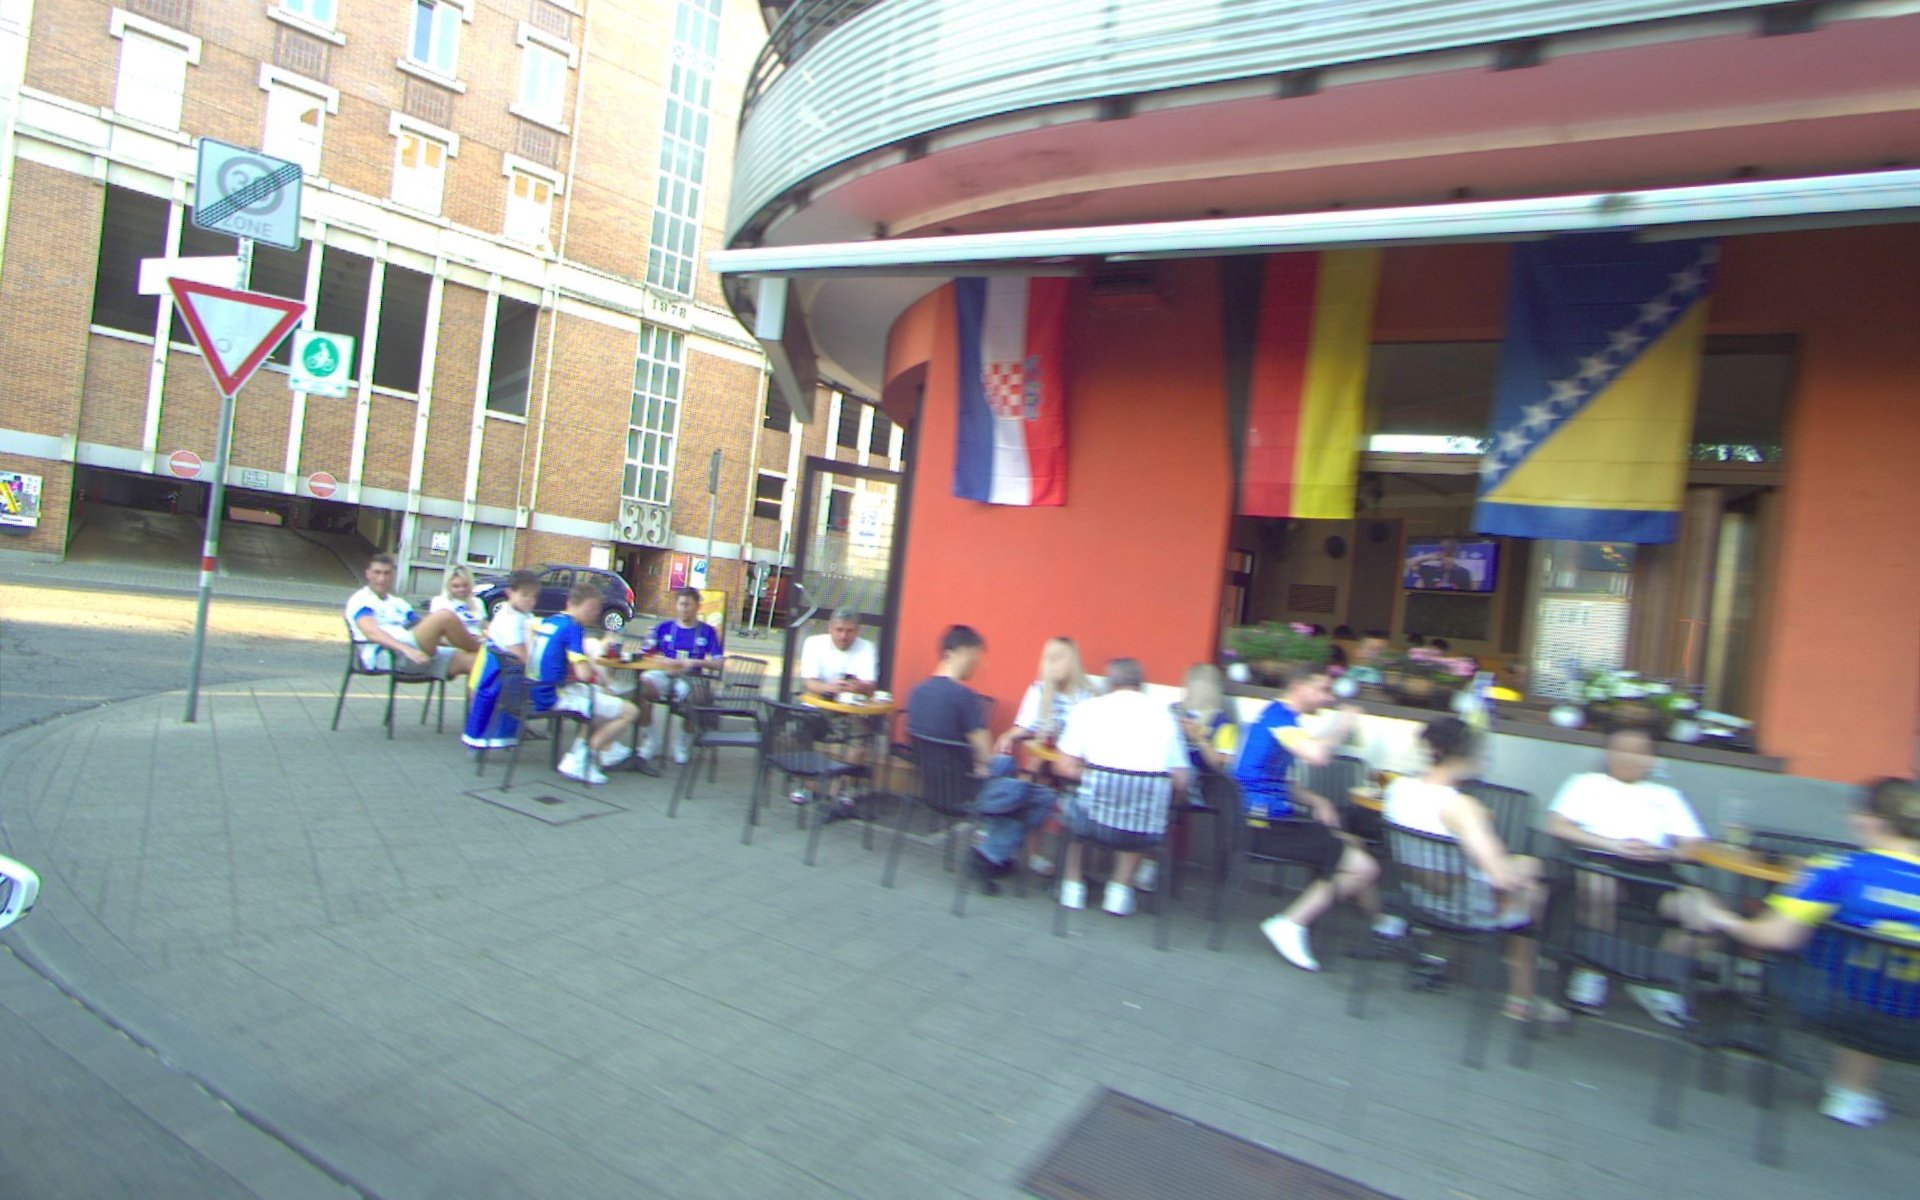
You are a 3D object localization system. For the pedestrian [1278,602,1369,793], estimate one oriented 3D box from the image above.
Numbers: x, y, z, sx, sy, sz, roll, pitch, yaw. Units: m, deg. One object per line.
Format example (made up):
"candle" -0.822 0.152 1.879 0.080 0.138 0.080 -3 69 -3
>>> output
"pedestrian" 3.665 0.964 10.124 0.607 1.798 0.612 7 0 25

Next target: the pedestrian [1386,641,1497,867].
"pedestrian" 4.130 1.293 8.671 0.606 1.798 0.612 7 0 20

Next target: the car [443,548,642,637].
"car" -10.067 -0.169 24.372 3.969 1.538 1.979 9 -1 -38

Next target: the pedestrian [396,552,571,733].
"pedestrian" -3.750 0.329 7.971 0.949 1.297 0.686 5 0 2

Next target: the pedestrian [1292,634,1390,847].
"pedestrian" 3.457 1.252 9.165 0.606 1.798 0.612 7 0 20

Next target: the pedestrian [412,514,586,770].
"pedestrian" -3.022 0.269 6.596 0.680 1.555 0.710 7 0 45

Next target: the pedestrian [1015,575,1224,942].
"pedestrian" 0.772 0.695 4.803 0.687 1.548 0.649 7 4 23

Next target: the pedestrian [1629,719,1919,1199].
"pedestrian" 2.875 1.115 3.306 0.872 1.322 0.843 5 1 -43

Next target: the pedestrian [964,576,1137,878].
"pedestrian" 0.532 0.684 5.778 0.643 1.556 0.674 7 3 25

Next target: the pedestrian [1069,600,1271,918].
"pedestrian" 1.178 0.825 5.561 0.769 1.522 0.769 7 0 25

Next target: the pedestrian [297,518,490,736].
"pedestrian" -4.034 0.190 7.224 0.823 1.399 0.771 6 1 2

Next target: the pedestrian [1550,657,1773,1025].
"pedestrian" 3.145 1.030 4.581 0.591 1.438 0.714 7 -1 27

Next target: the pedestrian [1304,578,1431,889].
"pedestrian" 2.553 0.808 6.301 0.512 1.798 0.538 7 0 24

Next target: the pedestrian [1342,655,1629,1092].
"pedestrian" 1.935 0.939 3.793 0.736 1.362 0.654 7 2 25

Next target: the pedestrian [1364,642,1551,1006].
"pedestrian" 2.239 0.947 4.575 0.551 1.453 0.666 7 2 25

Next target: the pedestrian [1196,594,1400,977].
"pedestrian" 1.627 0.817 4.769 0.667 1.554 0.853 7 -1 24

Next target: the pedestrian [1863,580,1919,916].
"pedestrian" 6.546 0.982 6.133 1.142 2.038 1.140 7 0 -34

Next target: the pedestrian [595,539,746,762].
"pedestrian" -2.220 0.386 7.822 0.838 1.554 0.714 8 -1 -7

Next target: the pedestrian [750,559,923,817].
"pedestrian" -0.812 0.562 6.560 0.745 1.554 0.643 8 -1 -30

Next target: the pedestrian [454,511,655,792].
"pedestrian" -2.503 0.284 6.216 0.838 1.557 0.712 7 4 29

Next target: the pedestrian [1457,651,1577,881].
"pedestrian" 4.700 1.370 8.529 0.606 1.798 0.612 7 0 20

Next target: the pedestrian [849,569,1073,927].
"pedestrian" 0.018 0.671 4.993 0.746 1.557 0.713 7 4 24

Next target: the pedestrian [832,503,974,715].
"pedestrian" -0.584 0.100 10.326 0.843 2.038 0.907 7 0 42

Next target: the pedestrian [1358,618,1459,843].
"pedestrian" 4.417 1.249 9.885 0.658 2.038 0.814 7 0 27
